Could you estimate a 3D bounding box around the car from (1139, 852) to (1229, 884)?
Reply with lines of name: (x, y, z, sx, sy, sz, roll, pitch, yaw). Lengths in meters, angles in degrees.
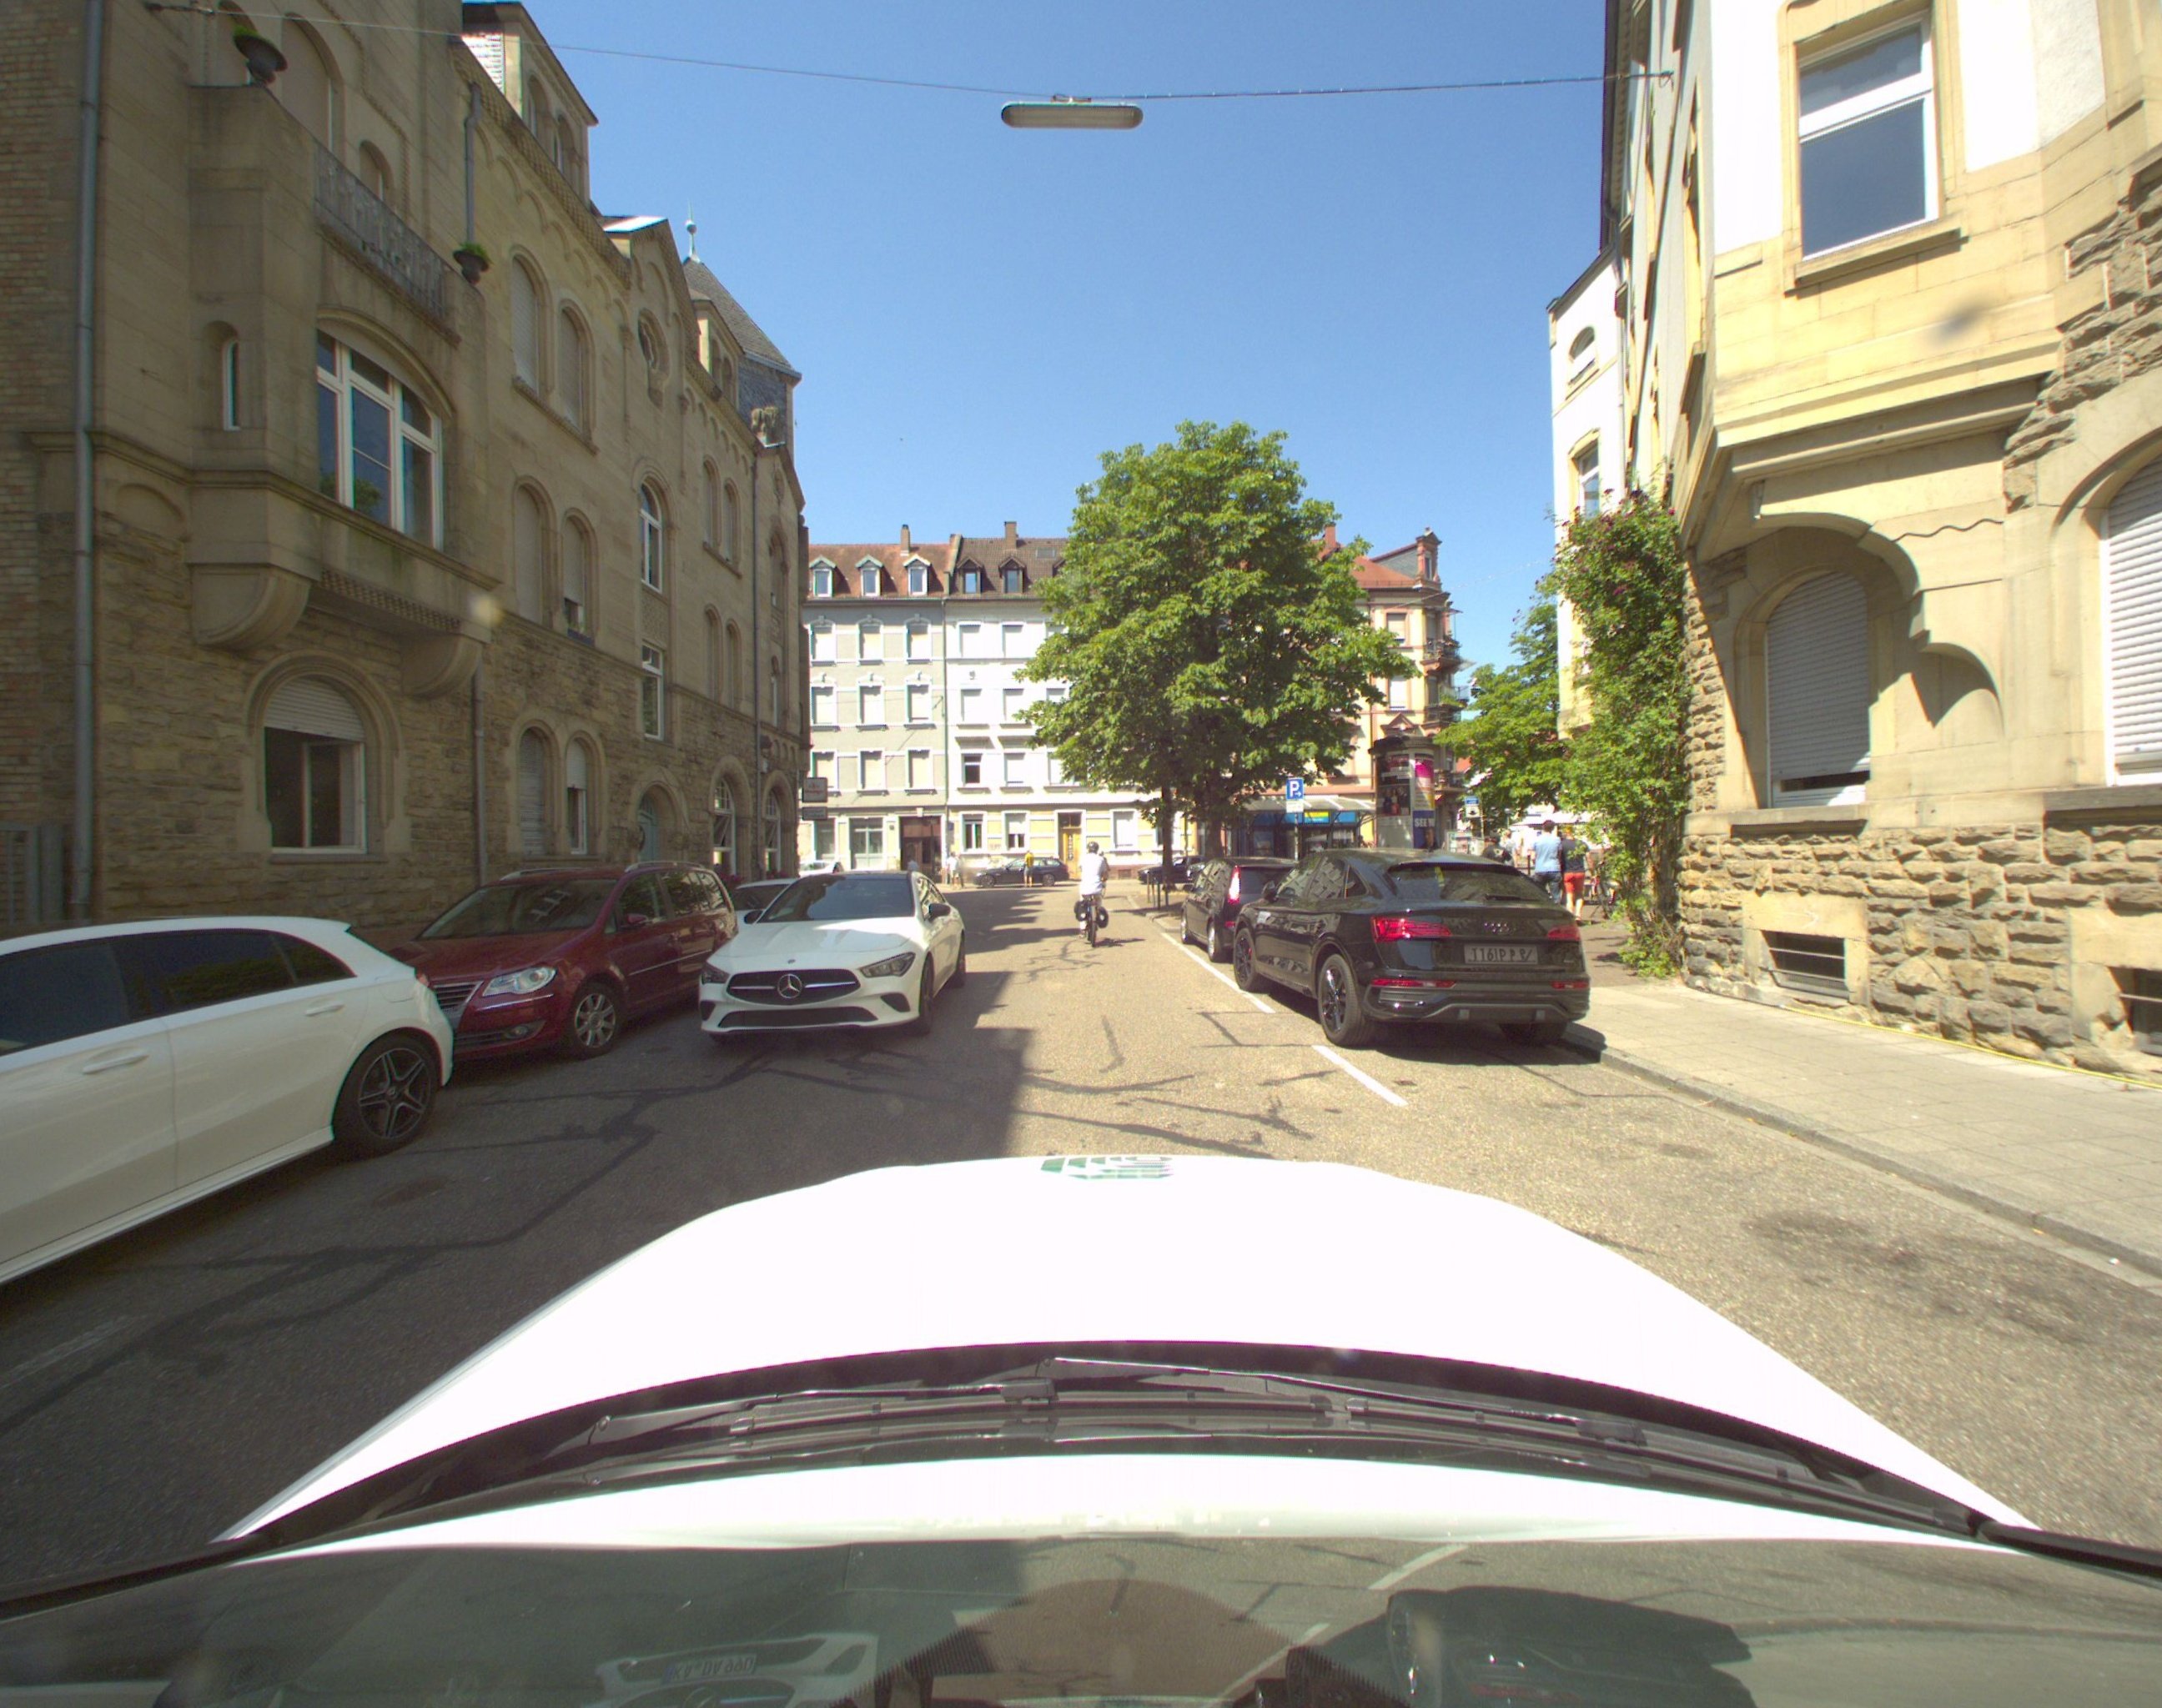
car: (5.181, 0.686, 41.335, 4.282, 1.370, 1.806, -2, 2, -2)

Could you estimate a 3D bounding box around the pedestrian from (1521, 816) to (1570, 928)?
pedestrian: (7.991, 0.307, 14.038, 0.515, 1.869, 0.655, -1, -1, 11)

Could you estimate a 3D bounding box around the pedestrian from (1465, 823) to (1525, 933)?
pedestrian: (6.835, 0.387, 13.461, 0.636, 1.752, 0.615, -2, 0, 2)

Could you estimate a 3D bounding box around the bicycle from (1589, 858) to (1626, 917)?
bicycle: (10.347, 0.633, 16.031, 0.542, 1.039, 1.849, -2, 0, 32)

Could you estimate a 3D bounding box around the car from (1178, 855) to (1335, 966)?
car: (2.726, 0.804, 13.564, 1.658, 1.540, 4.176, 1, 0, -1)

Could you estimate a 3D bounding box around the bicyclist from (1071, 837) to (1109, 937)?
bicyclist: (0.162, 0.586, 14.767, 0.668, 1.760, 0.609, 1, 0, 0)

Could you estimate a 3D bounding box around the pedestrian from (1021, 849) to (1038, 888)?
pedestrian: (-2.520, 0.687, 39.703, 0.725, 1.853, 0.682, -2, 0, -11)

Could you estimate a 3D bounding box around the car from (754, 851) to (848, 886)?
car: (-13.956, 0.723, 40.717, 4.037, 1.562, 1.805, -2, 0, -3)

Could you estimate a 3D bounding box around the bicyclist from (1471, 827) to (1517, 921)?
bicyclist: (7.461, 0.354, 14.718, 0.671, 1.647, 0.666, -2, 0, 27)

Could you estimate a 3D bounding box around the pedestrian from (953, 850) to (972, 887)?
pedestrian: (-5.962, 0.731, 41.025, 0.900, 1.814, 0.958, -2, 0, -6)

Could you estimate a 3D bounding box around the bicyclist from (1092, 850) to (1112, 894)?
bicyclist: (0.756, 0.649, 29.132, 0.668, 1.533, 0.609, -2, 0, 0)

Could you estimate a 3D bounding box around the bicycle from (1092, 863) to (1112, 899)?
bicycle: (0.725, 0.928, 29.068, 0.649, 1.209, 2.441, 0, 0, 0)

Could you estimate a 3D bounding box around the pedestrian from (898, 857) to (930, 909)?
pedestrian: (-5.522, 0.943, 27.008, 0.855, 1.672, 0.774, -2, 0, -1)

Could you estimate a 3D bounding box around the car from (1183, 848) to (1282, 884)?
car: (7.005, 0.540, 37.836, 4.212, 1.519, 1.806, -2, 0, -2)

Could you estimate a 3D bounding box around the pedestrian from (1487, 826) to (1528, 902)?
pedestrian: (10.345, 0.239, 19.744, 0.753, 1.794, 0.576, -1, -1, -40)

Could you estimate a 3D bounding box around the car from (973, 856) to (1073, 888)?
car: (-2.847, 0.879, 40.950, 4.846, 1.437, 1.999, -2, 0, -2)

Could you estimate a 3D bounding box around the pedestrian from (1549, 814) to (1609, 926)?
pedestrian: (8.623, 0.275, 14.135, 0.595, 1.880, 0.886, -1, -1, 12)

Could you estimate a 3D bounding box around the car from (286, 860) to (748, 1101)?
car: (-4.833, 0.910, 7.827, 1.668, 1.583, 4.048, -3, 0, -3)

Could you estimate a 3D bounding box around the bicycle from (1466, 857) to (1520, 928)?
bicycle: (7.613, 0.666, 15.129, 0.786, 1.169, 2.593, -2, 0, 25)

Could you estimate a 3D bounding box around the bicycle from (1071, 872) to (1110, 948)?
bicycle: (0.161, 0.981, 15.029, 0.650, 1.228, 2.441, 0, 0, 0)

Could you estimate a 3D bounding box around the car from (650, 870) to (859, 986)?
car: (-4.945, 1.026, 13.087, 1.698, 1.352, 4.509, -3, 0, -3)

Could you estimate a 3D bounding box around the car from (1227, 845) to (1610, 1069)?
car: (2.838, 0.744, 8.034, 1.732, 1.597, 4.341, 1, 0, -4)

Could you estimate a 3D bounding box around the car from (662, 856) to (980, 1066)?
car: (-2.224, 0.808, 8.309, 1.836, 1.461, 4.360, -3, 0, -1)

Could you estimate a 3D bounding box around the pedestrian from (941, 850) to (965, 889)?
pedestrian: (-6.318, 0.742, 40.152, 0.845, 1.889, 0.938, -2, 0, 9)

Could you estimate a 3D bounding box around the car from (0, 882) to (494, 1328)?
car: (-4.656, 0.953, 3.133, 1.772, 1.460, 4.274, -3, 0, -3)
